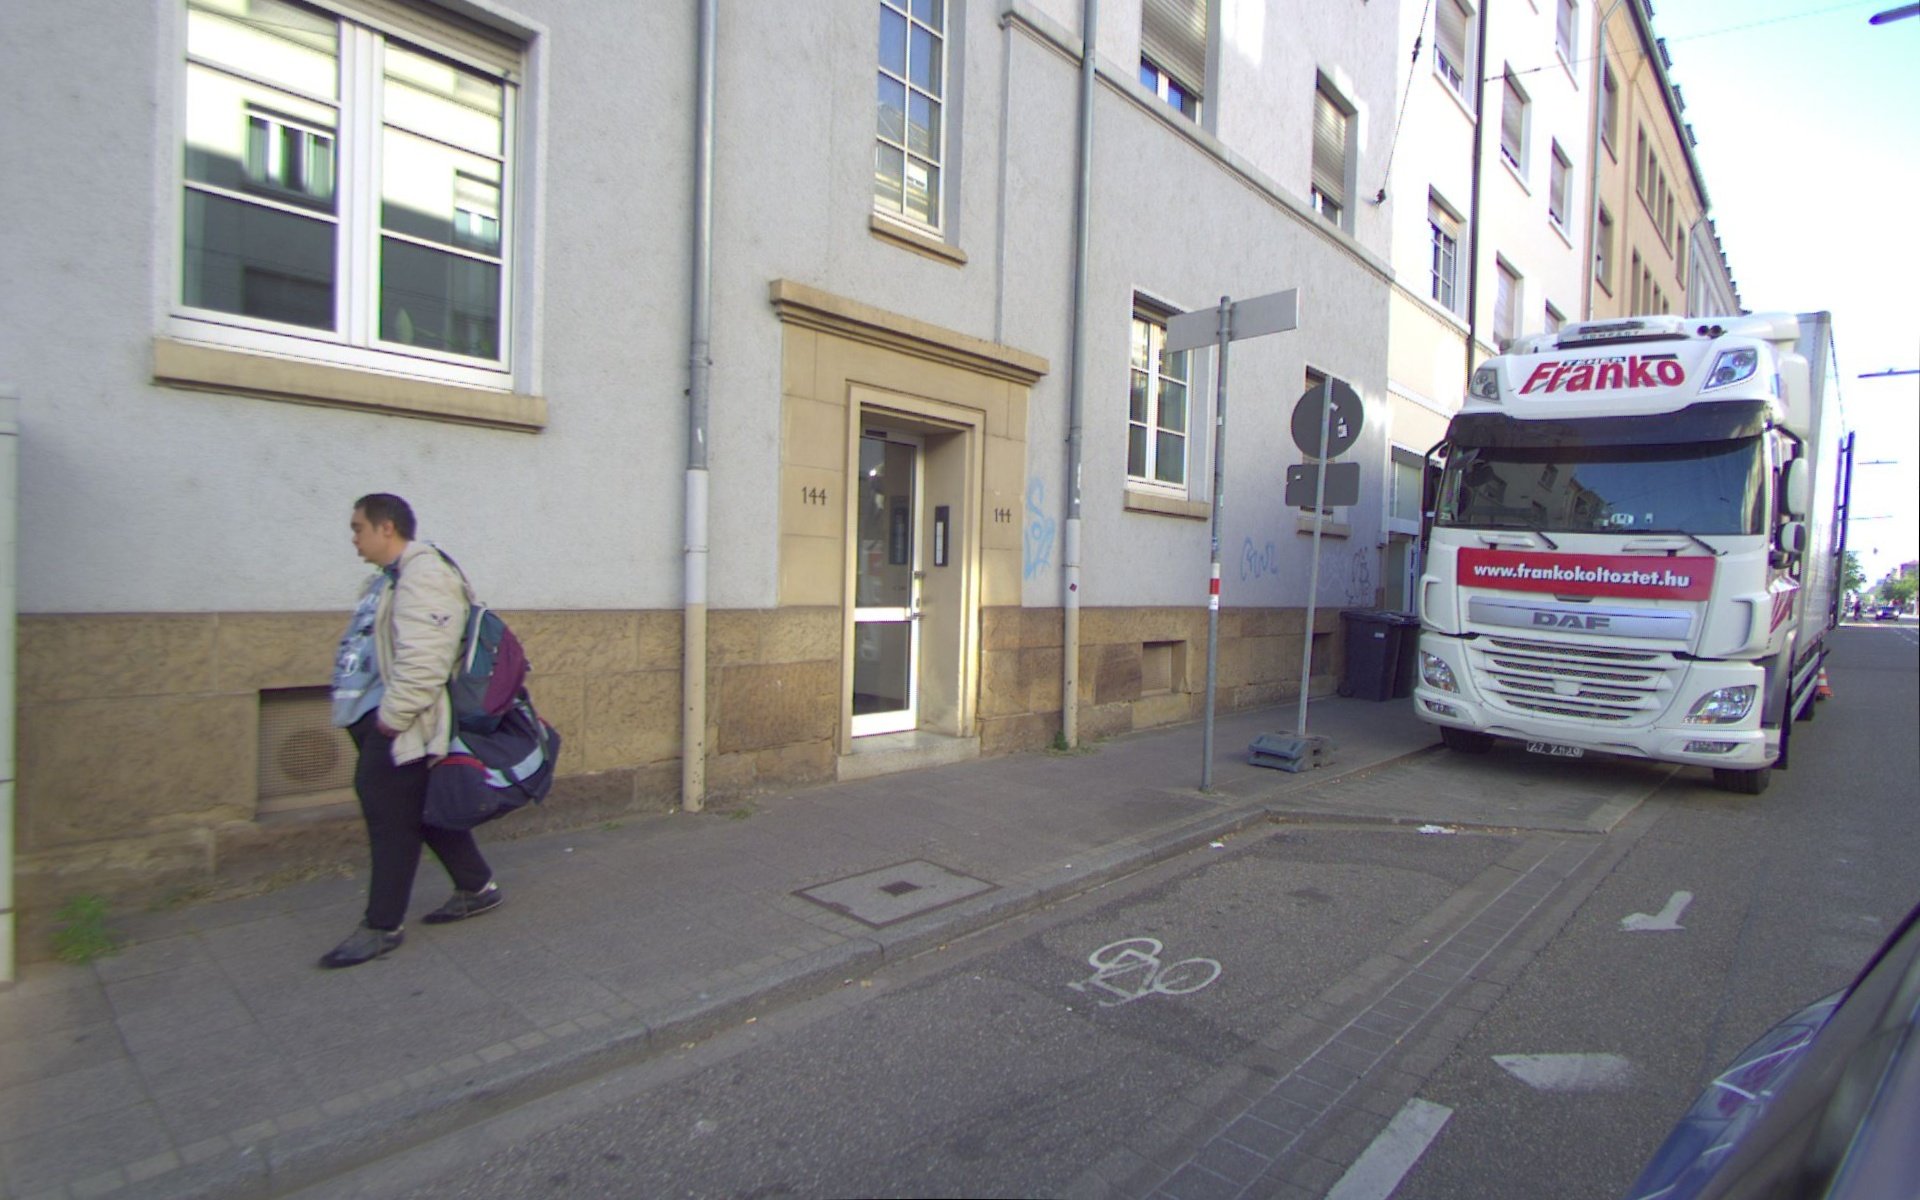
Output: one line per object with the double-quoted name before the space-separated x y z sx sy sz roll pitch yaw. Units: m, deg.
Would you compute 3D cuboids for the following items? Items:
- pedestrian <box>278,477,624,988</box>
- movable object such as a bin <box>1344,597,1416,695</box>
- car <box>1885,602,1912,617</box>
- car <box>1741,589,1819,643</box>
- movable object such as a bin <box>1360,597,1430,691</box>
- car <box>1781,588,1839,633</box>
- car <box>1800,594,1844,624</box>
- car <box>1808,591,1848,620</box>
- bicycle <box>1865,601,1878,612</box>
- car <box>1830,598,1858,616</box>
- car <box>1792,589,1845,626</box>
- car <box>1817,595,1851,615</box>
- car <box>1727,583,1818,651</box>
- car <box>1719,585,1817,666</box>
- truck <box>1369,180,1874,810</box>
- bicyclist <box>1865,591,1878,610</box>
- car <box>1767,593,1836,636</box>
"pedestrian" -1.838 0.377 3.652 0.825 1.553 0.855 5 3 44
"movable object such as a bin" 5.095 0.540 12.287 0.657 1.118 0.534 2 1 40
"car" 95.389 0.947 102.831 1.856 1.394 3.935 3 2 45
"car" 25.554 0.462 31.517 1.609 1.481 3.425 4 3 43
"movable object such as a bin" 5.475 0.535 12.730 0.657 1.118 0.534 2 1 40
"car" 36.253 0.411 43.122 1.708 1.714 4.520 4 3 42
"car" 47.850 0.492 56.153 1.699 1.523 3.803 3 2 43
"car" 51.319 0.310 59.812 1.698 1.610 3.900 3 2 42
"bicycle" 74.587 0.525 82.825 0.742 0.866 1.856 3 2 43
"car" 91.129 0.696 104.293 1.993 1.660 3.938 4 2 42
"car" 44.139 0.365 51.985 1.700 1.719 4.120 5 3 44
"car" 71.230 0.388 82.474 1.993 1.437 3.669 4 2 42
"car" 22.704 0.429 28.227 1.788 1.672 4.302 4 3 40
"car" 18.860 0.524 23.612 1.590 1.628 4.186 4 3 39
"truck" 8.555 -0.742 11.864 2.860 4.123 11.593 3 2 43
"bicyclist" 74.690 0.034 82.890 0.742 1.508 0.803 3 1 44
"car" 32.137 0.533 38.607 1.700 1.470 4.139 4 3 44
